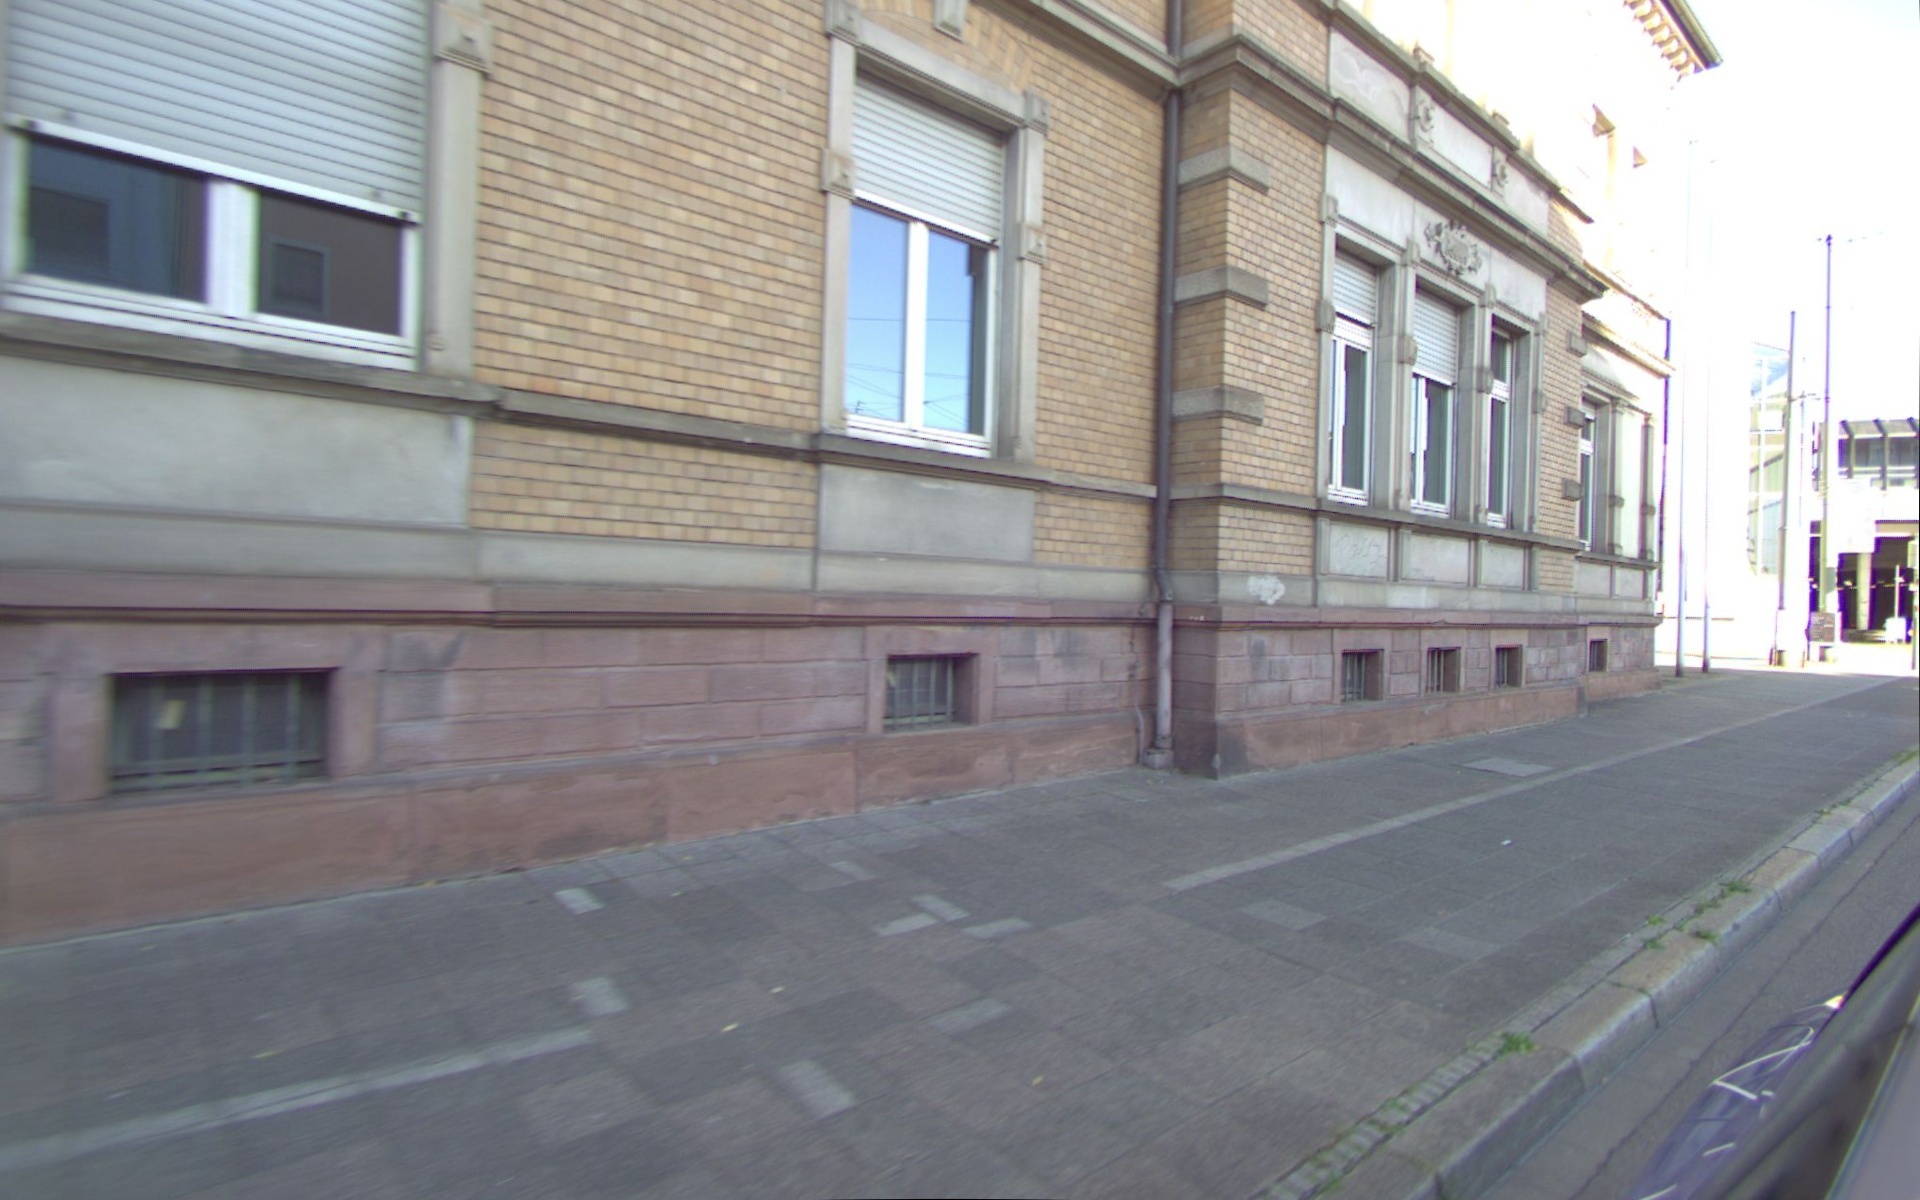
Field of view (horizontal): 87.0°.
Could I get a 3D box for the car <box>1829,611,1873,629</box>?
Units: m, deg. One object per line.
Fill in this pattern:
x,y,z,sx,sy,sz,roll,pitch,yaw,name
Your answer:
74.930,1.644,85.207,1.799,1.408,4.205,1,0,28,car
